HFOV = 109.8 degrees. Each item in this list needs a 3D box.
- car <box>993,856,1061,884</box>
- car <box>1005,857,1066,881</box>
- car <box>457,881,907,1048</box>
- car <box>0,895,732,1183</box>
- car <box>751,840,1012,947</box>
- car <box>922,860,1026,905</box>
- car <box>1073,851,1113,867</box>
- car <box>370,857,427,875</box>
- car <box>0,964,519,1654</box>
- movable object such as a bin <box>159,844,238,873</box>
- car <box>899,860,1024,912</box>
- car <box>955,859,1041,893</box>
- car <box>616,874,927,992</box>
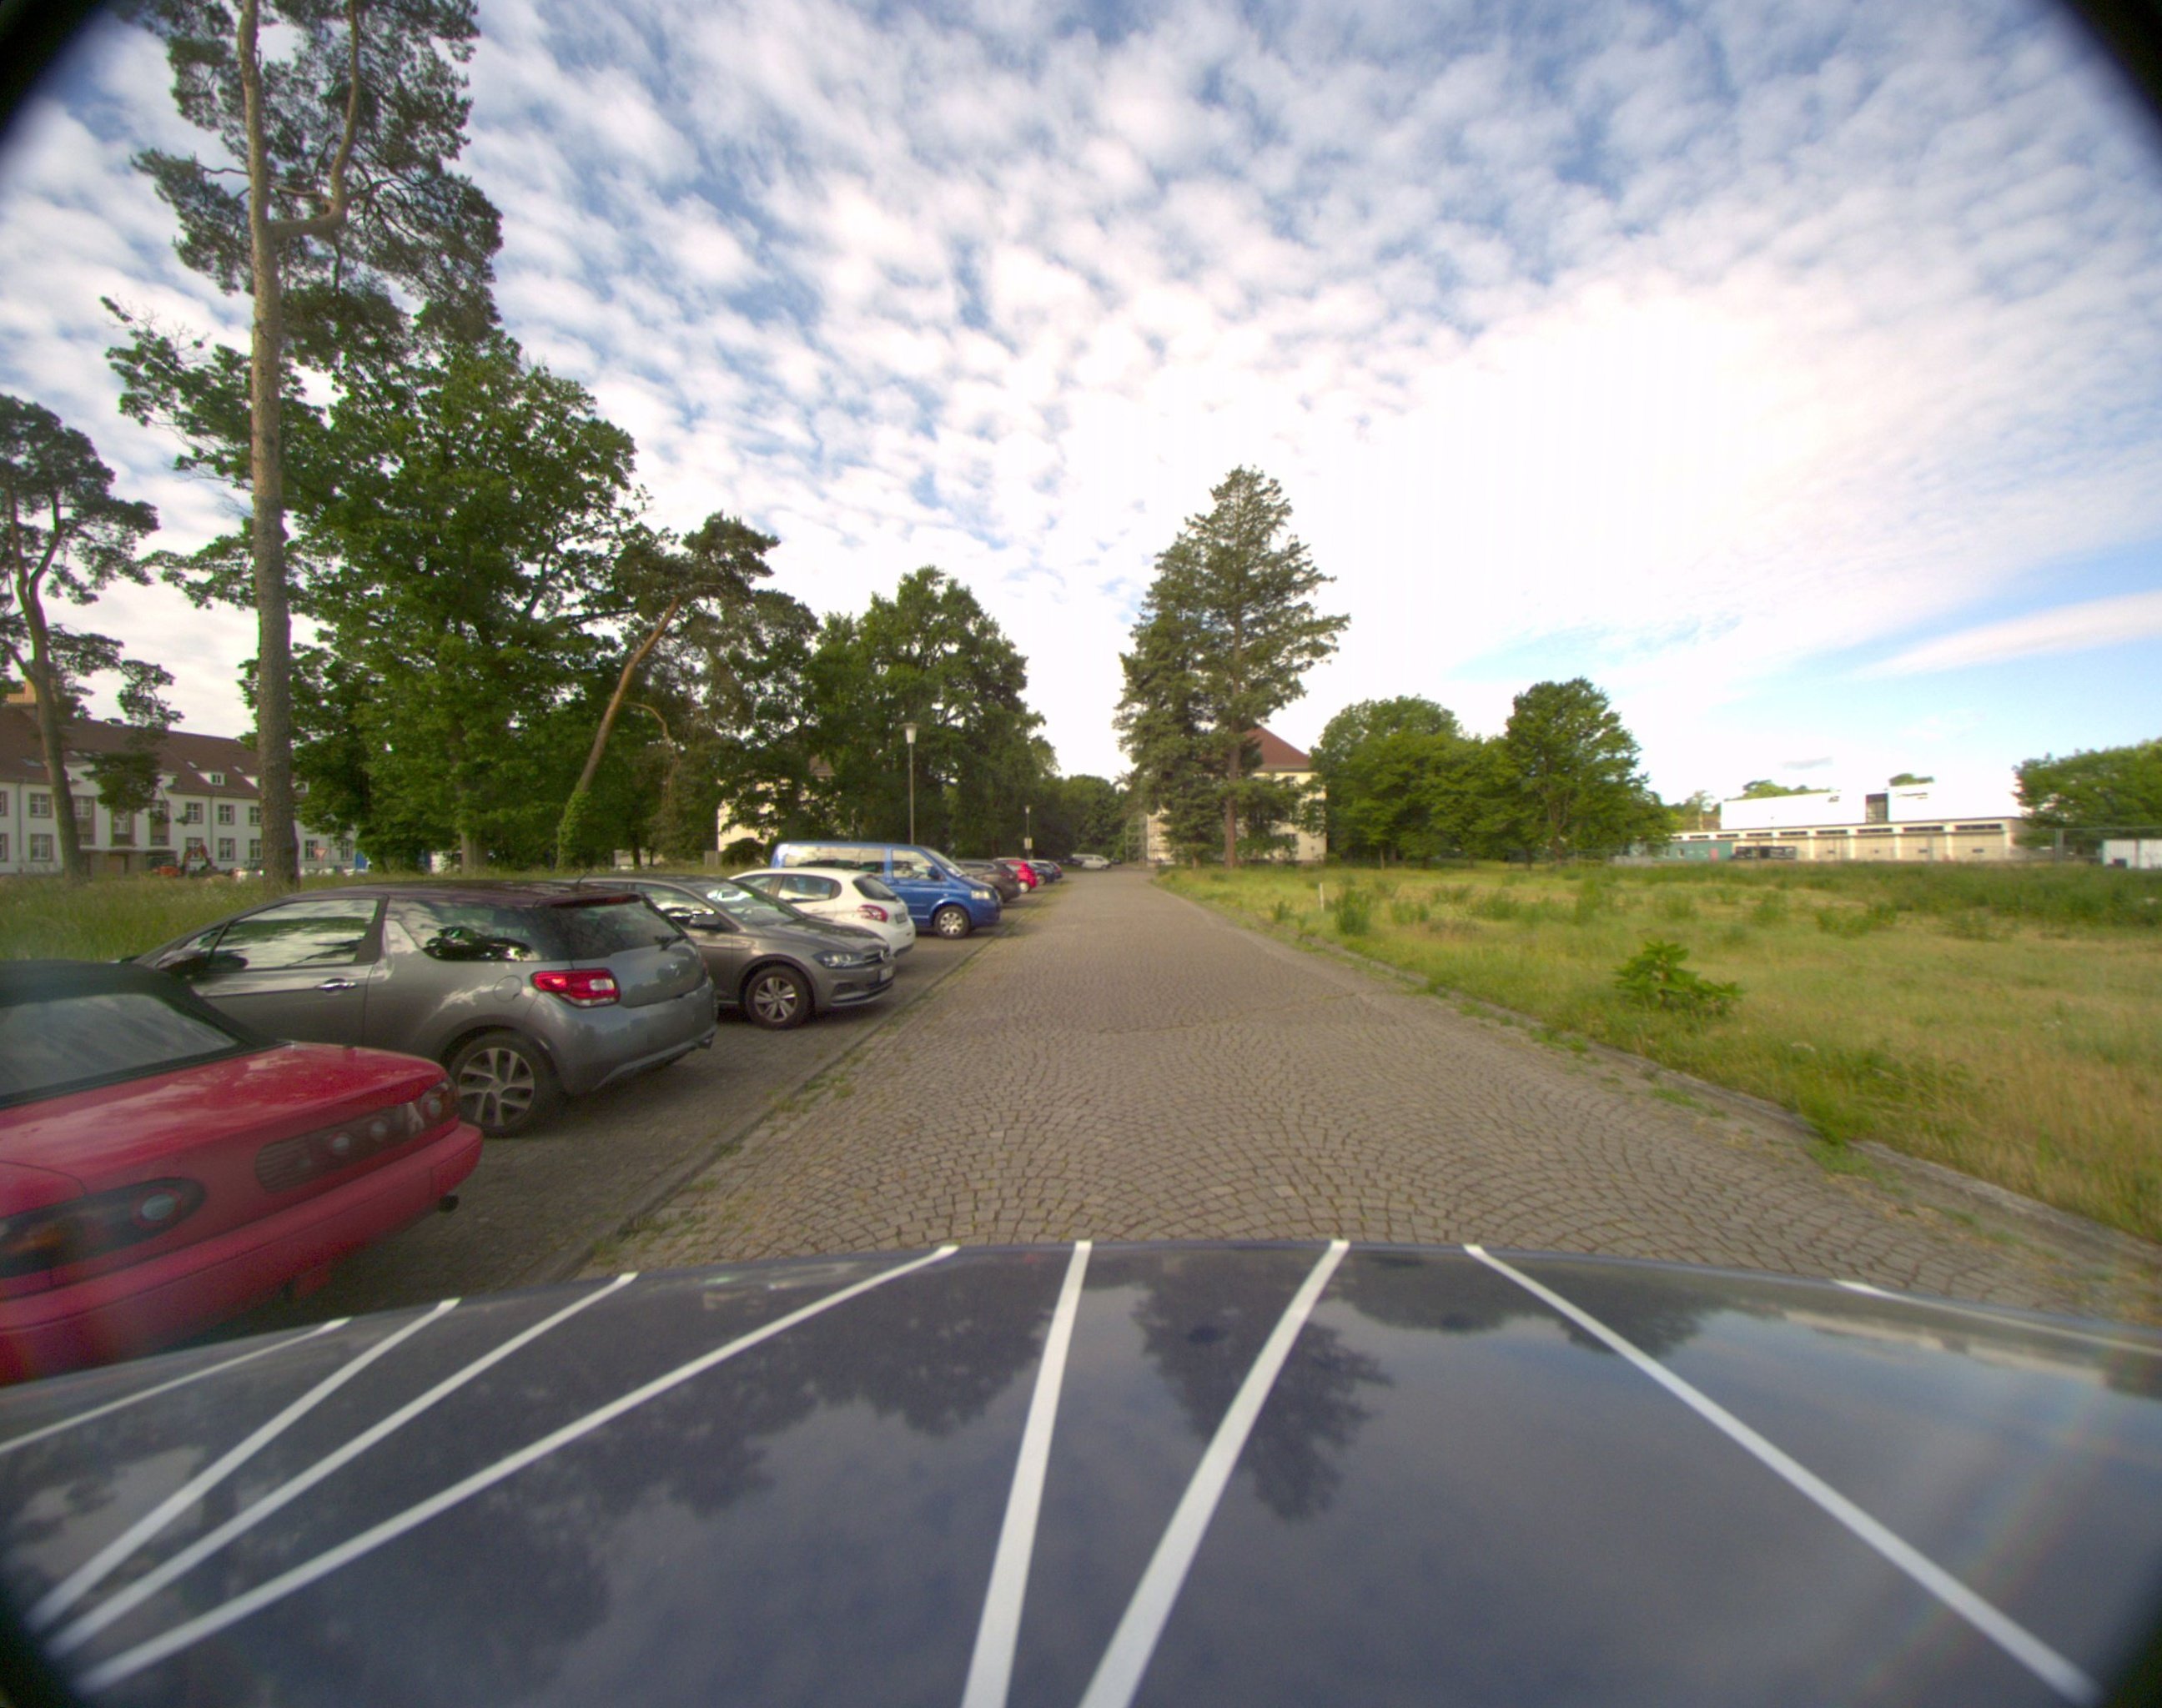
[{"bbox_3d":[-3.209,0.959,45.654,3.835,1.609,1.582,0,0,6],"label":"car"},{"bbox_3d":[-2.979,0.991,50.340,3.835,1.520,1.674,0,0,6],"label":"car"},{"bbox_3d":[-3.895,1.046,7.828,3.780,1.457,1.643,0,0,3],"label":"car"},{"bbox_3d":[-4.596,1.070,5.002,3.837,1.494,1.604,0,0,1],"label":"car"},{"bbox_3d":[-4.102,0.784,16.223,4.953,2.011,2.061,1,0,2],"label":"car"},{"bbox_3d":[-3.850,1.015,27.790,3.633,1.592,1.581,0,0,-2],"label":"car"},{"bbox_3d":[1.565,0.669,99.013,5.129,2.002,1.804,0,0,0],"label":"car"},{"bbox_3d":[-66.273,1.120,73.861,1.846,1.674,3.938,1,0,4],"label":"car"},{"bbox_3d":[-4.121,1.113,2.362,3.554,1.279,1.608,0,2,2],"label":"car"},{"bbox_3d":[-88.121,0.416,76.007,1.999,2.752,5.202,0,0,-3],"label":"movable object such as a bin"},{"bbox_3d":[-3.842,1.022,24.866,3.838,1.592,1.581,0,0,-2],"label":"car"},{"bbox_3d":[-3.796,0.989,35.279,3.838,1.516,1.581,0,0,-2],"label":"car"},{"bbox_3d":[-4.259,1.063,10.800,3.761,1.490,1.581,0,0,3],"label":"car"}]
